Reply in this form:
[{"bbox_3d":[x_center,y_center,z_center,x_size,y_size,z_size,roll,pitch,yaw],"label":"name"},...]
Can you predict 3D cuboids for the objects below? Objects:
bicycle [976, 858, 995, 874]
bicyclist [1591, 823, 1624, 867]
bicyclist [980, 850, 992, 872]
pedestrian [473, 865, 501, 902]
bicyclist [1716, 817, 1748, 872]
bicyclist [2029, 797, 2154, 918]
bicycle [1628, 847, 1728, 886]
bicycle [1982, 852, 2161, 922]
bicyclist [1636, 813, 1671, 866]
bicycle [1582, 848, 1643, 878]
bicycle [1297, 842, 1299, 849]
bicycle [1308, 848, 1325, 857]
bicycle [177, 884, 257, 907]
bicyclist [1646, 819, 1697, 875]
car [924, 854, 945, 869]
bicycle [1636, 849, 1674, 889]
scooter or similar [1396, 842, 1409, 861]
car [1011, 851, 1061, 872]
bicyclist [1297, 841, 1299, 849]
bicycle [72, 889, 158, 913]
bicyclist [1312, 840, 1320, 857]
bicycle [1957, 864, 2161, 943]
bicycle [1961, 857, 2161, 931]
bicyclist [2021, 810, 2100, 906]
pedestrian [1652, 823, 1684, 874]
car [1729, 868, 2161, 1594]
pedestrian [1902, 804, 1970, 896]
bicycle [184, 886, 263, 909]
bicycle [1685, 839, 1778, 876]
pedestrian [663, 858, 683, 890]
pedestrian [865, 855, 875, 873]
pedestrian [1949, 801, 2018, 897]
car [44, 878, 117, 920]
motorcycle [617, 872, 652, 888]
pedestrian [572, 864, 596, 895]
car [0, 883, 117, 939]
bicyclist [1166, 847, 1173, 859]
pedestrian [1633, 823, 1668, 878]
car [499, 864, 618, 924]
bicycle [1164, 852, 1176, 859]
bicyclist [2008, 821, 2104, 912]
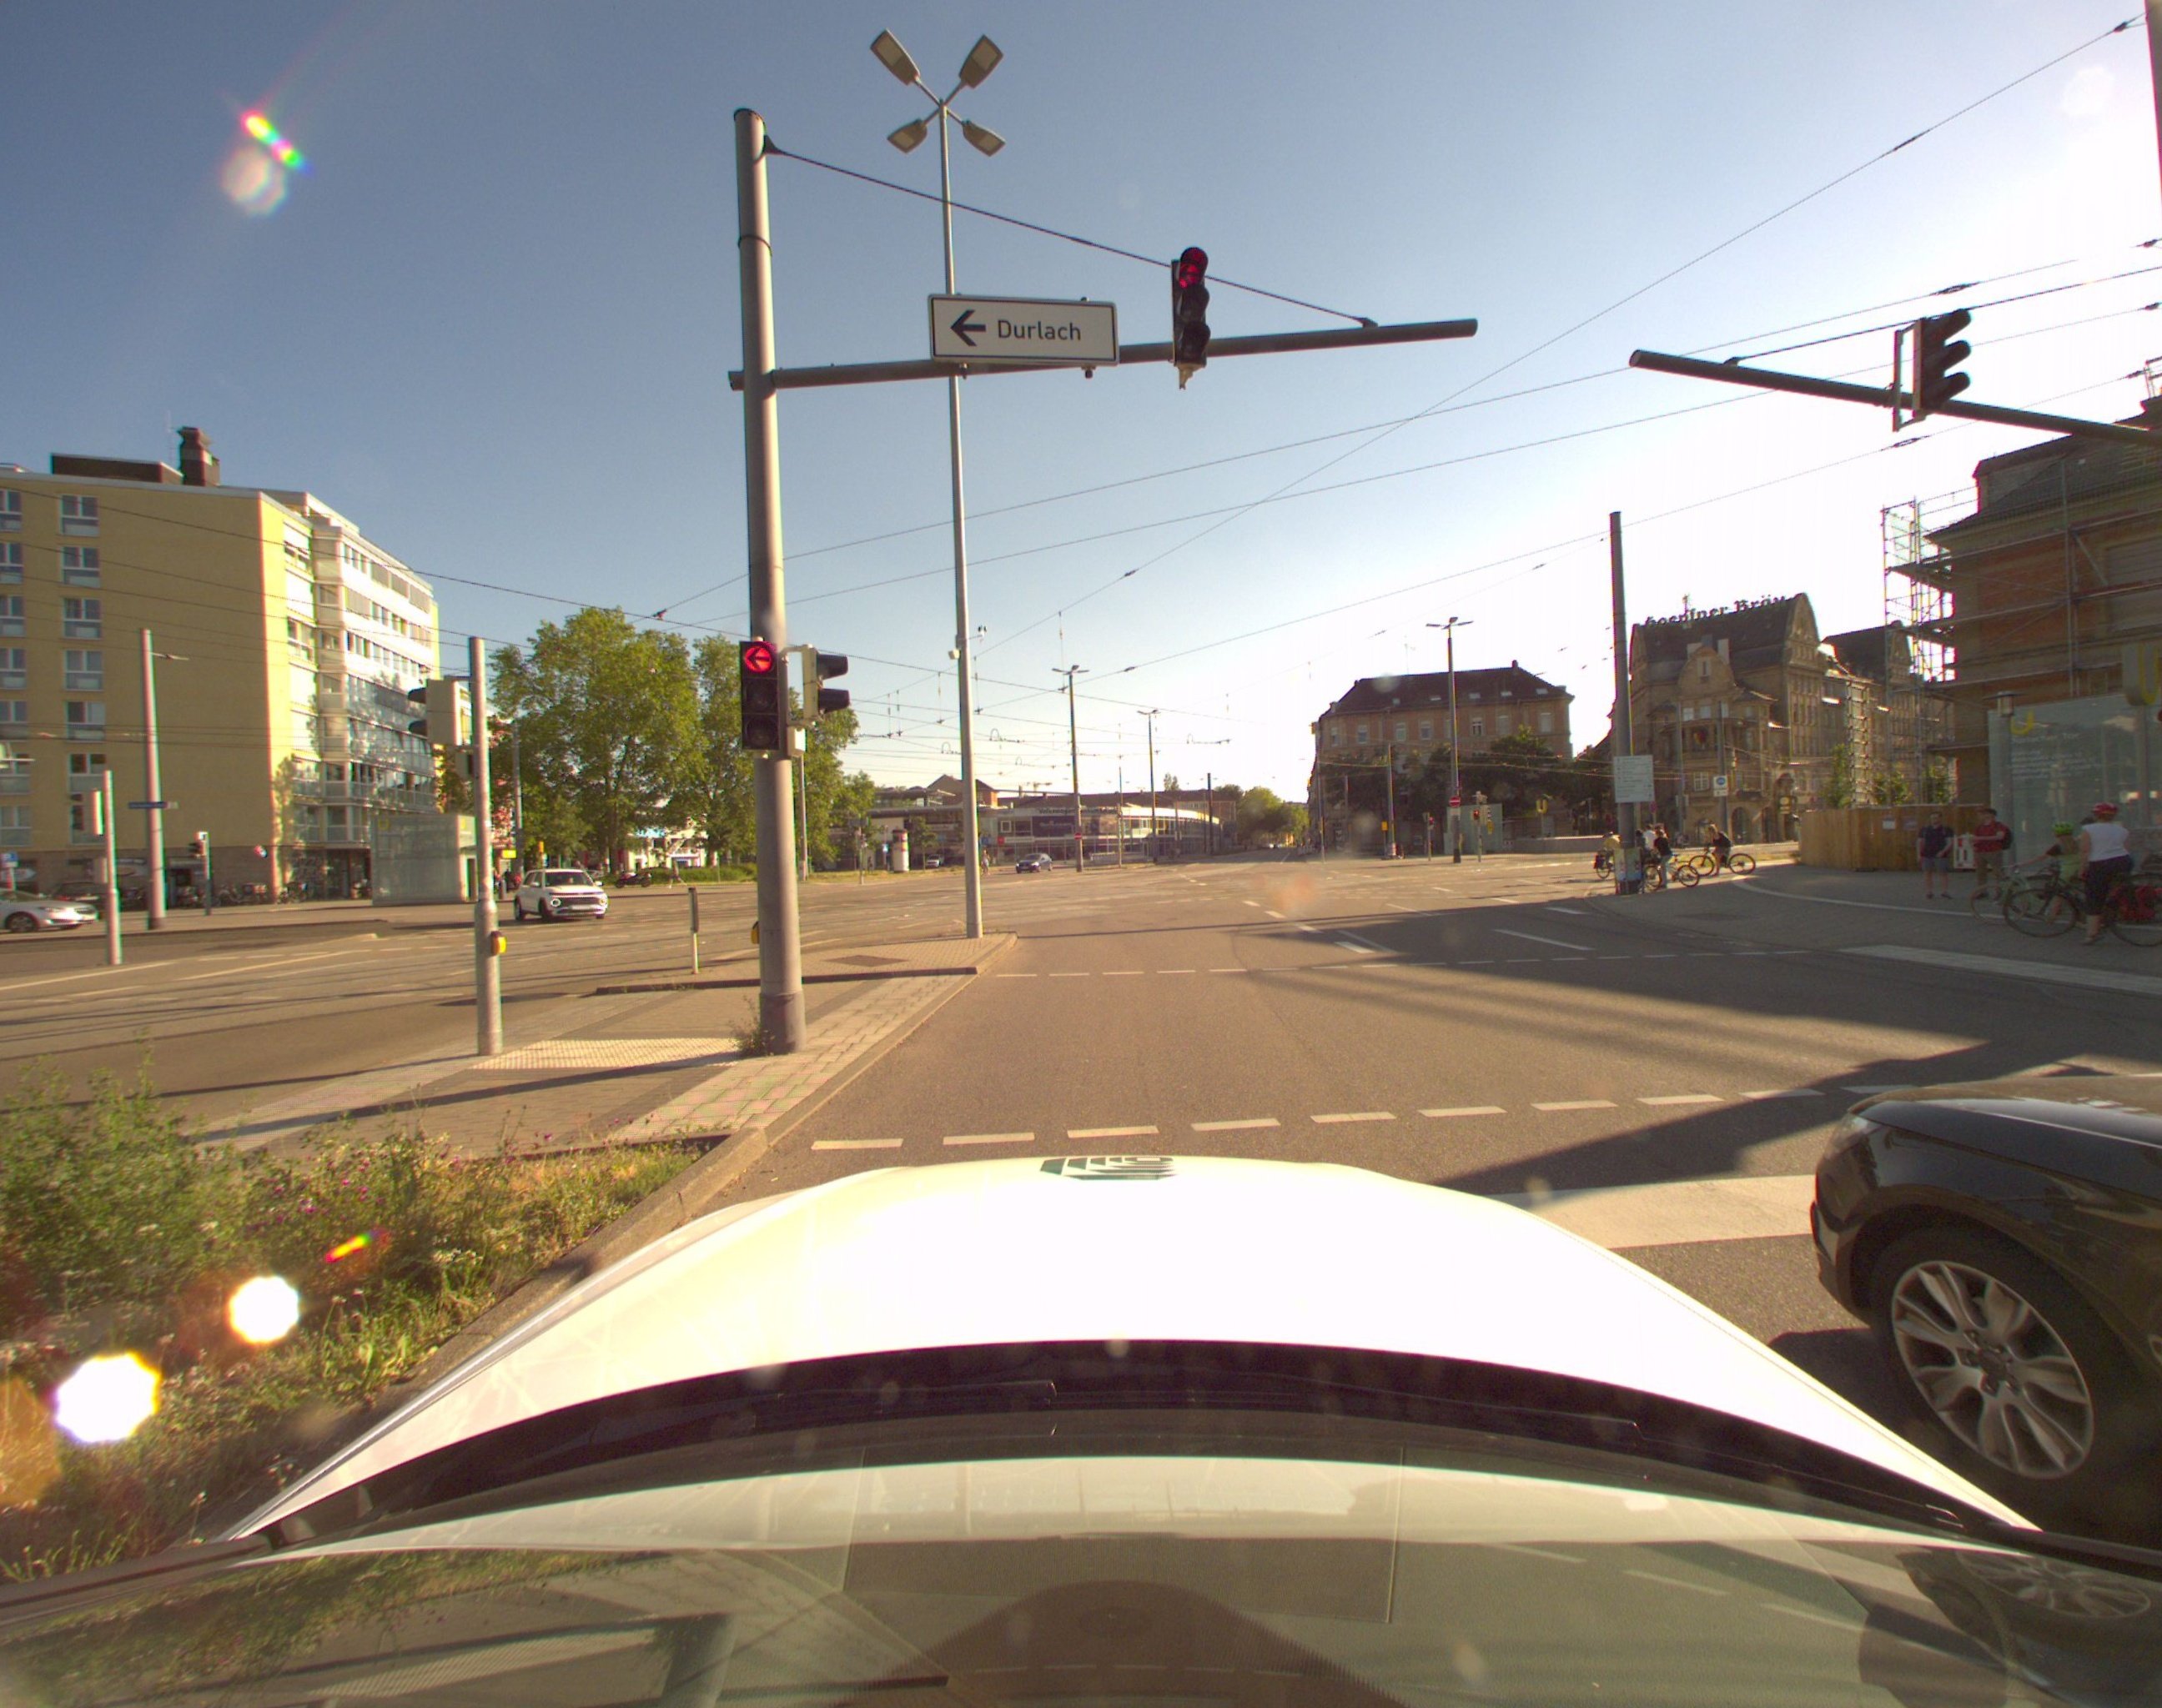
[{"bbox_3d":[-7.019,0.881,60.010,0.607,1.189,1.878,-1,-1,19],"label":"bicycle"},{"bbox_3d":[19.169,-0.313,29.667,0.514,1.557,0.945,0,-1,-6],"label":"bicyclist"},{"bbox_3d":[-6.996,0.539,60.086,0.593,1.615,0.827,-1,-1,19],"label":"bicyclist"},{"bbox_3d":[-28.265,1.402,38.762,0.790,1.706,0.760,-1,-1,9],"label":"pedestrian"},{"bbox_3d":[21.304,-0.298,26.675,0.785,1.779,0.526,-1,-1,37],"label":"bicyclist"},{"bbox_3d":[13.485,0.050,10.890,0.664,1.553,0.794,0,-1,-3],"label":"bicyclist"},{"bbox_3d":[17.109,0.346,23.429,0.701,1.049,2.303,0,-1,-22],"label":"bicycle"},{"bbox_3d":[15.510,0.481,12.580,0.661,0.963,2.018,-4,1,-25],"label":"bicycle"},{"bbox_3d":[16.014,-0.386,22.795,0.701,1.439,0.953,-1,-1,30],"label":"bicyclist"},{"bbox_3d":[19.186,0.301,29.463,0.533,1.049,2.315,0,1,-6],"label":"bicycle"},{"bbox_3d":[32.989,-1.280,123.814,0.407,0.941,1.852,-1,-1,15],"label":"bicycle"},{"bbox_3d":[23.478,-0.152,81.322,0.662,0.952,1.583,0,-1,-35],"label":"bicycle"},{"bbox_3d":[-46.232,2.190,43.623,3.041,1.151,0.637,0,-1,-16],"label":"bicycle"},{"bbox_3d":[17.058,-0.192,23.534,0.711,1.557,0.940,0,-1,-23],"label":"bicyclist"},{"bbox_3d":[-17.957,0.933,99.946,1.988,1.750,3.997,0,-1,-1],"label":"car"},{"bbox_3d":[15.988,0.392,22.715,0.692,1.049,2.335,0,1,31],"label":"bicycle"},{"bbox_3d":[24.746,-0.180,62.740,0.780,1.376,1.916,-1,-1,16],"label":"scooter or similar"},{"bbox_3d":[-3.396,0.563,61.937,1.975,1.585,4.024,-1,-1,29],"label":"car"},{"bbox_3d":[32.968,-1.368,123.748,0.405,1.116,0.400,-1,-1,13],"label":"bicyclist"},{"bbox_3d":[-50.359,2.459,42.483,3.041,1.151,0.637,0,-1,-16],"label":"bicycle"},{"bbox_3d":[23.479,-0.538,81.322,0.522,1.700,0.510,0,-1,-35],"label":"bicyclist"},{"bbox_3d":[13.458,0.624,11.154,0.656,0.963,2.033,0,-1,-3],"label":"bicycle"},{"bbox_3d":[14.452,0.549,12.005,0.657,0.963,2.033,-4,0,-3],"label":"bicycle"},{"bbox_3d":[15.393,0.065,12.805,0.619,1.454,0.667,0,-1,-27],"label":"bicyclist"},{"bbox_3d":[22.035,-0.202,30.586,0.646,1.922,0.689,0,-1,-6],"label":"pedestrian"},{"bbox_3d":[2.894,0.736,0.675,1.617,1.404,4.001,0,0,2],"label":"car"},{"bbox_3d":[17.343,-0.085,16.519,0.672,1.807,0.680,-3,0,-19],"label":"pedestrian"},{"bbox_3d":[-46.545,2.336,44.216,3.041,1.151,0.637,0,-1,-16],"label":"bicycle"},{"bbox_3d":[21.273,0.131,26.703,2.290,1.049,0.539,-5,-1,36],"label":"bicycle"},{"bbox_3d":[-24.685,1.214,49.252,0.790,1.886,0.760,-1,-1,9],"label":"pedestrian"},{"bbox_3d":[-20.070,0.963,77.393,0.854,1.694,0.497,0,-1,-1],"label":"pedestrian"},{"bbox_3d":[17.546,-0.092,15.842,0.672,1.807,0.680,0,-1,-19],"label":"pedestrian"},{"bbox_3d":[-44.184,1.947,35.933,3.948,1.706,1.730,-1,-1,35],"label":"car"},{"bbox_3d":[-27.260,1.579,49.758,1.779,0.914,0.675,0,-1,-19],"label":"motorcycle"},{"bbox_3d":[-27.610,1.393,45.252,0.790,1.706,0.760,-1,-1,9],"label":"pedestrian"},{"bbox_3d":[-34.170,1.797,25.539,4.727,1.662,1.772,0,-1,-25],"label":"car"},{"bbox_3d":[11.788,-0.168,108.316,0.647,1.572,0.928,-1,-1,31],"label":"bicyclist"},{"bbox_3d":[21.267,-0.121,30.437,0.730,2.014,0.760,0,-1,-6],"label":"pedestrian"},{"bbox_3d":[-15.816,1.146,24.603,3.948,1.662,1.797,-1,-1,38],"label":"car"},{"bbox_3d":[11.850,0.189,108.404,0.632,0.870,2.249,-1,-1,32],"label":"bicycle"},{"bbox_3d":[14.435,0.179,12.073,0.614,1.315,0.673,0,-1,-3],"label":"bicyclist"}]
